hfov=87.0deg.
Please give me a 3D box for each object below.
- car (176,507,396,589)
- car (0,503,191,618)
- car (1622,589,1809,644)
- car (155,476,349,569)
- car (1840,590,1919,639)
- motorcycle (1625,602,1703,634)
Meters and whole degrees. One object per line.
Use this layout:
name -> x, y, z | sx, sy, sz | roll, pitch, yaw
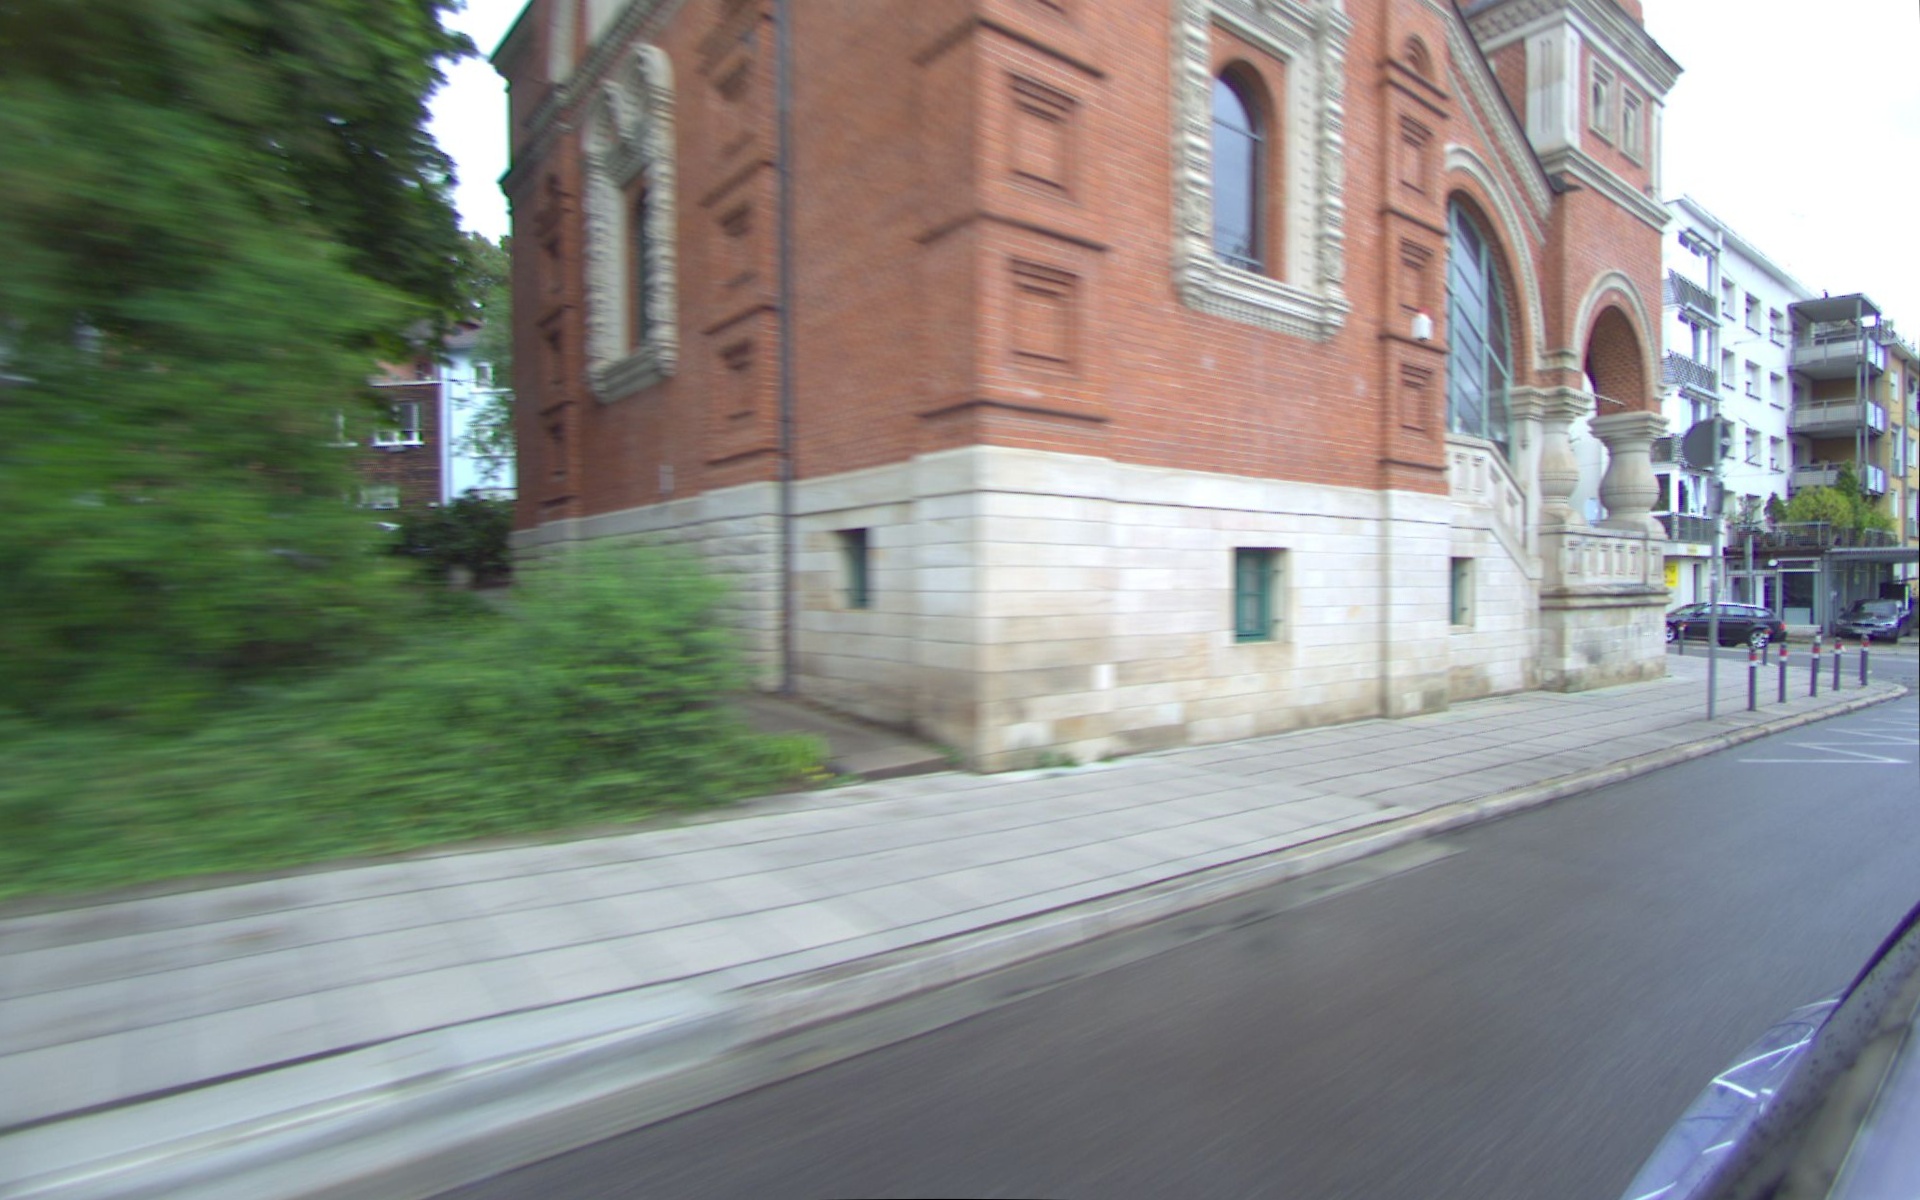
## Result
car -> -13.423, -0.969, 20.442 | 1.713, 1.463, 3.831 | -1, 0, 4
car -> -13.966, -0.534, 15.087 | 1.809, 1.584, 3.991 | -1, 0, 4
car -> 24.528, 0.522, 33.003 | 4.373, 1.475, 1.998 | 4, 0, 7
car -> -17.684, -1.863, 25.532 | 1.963, 2.002, 3.997 | -1, 0, 3
car -> 34.008, 0.487, 37.047 | 4.368, 1.521, 1.859 | -2, 4, -38
motorcycle -> 25.183, 0.641, 36.225 | 2.178, 0.991, 0.550 | 4, 1, 10
